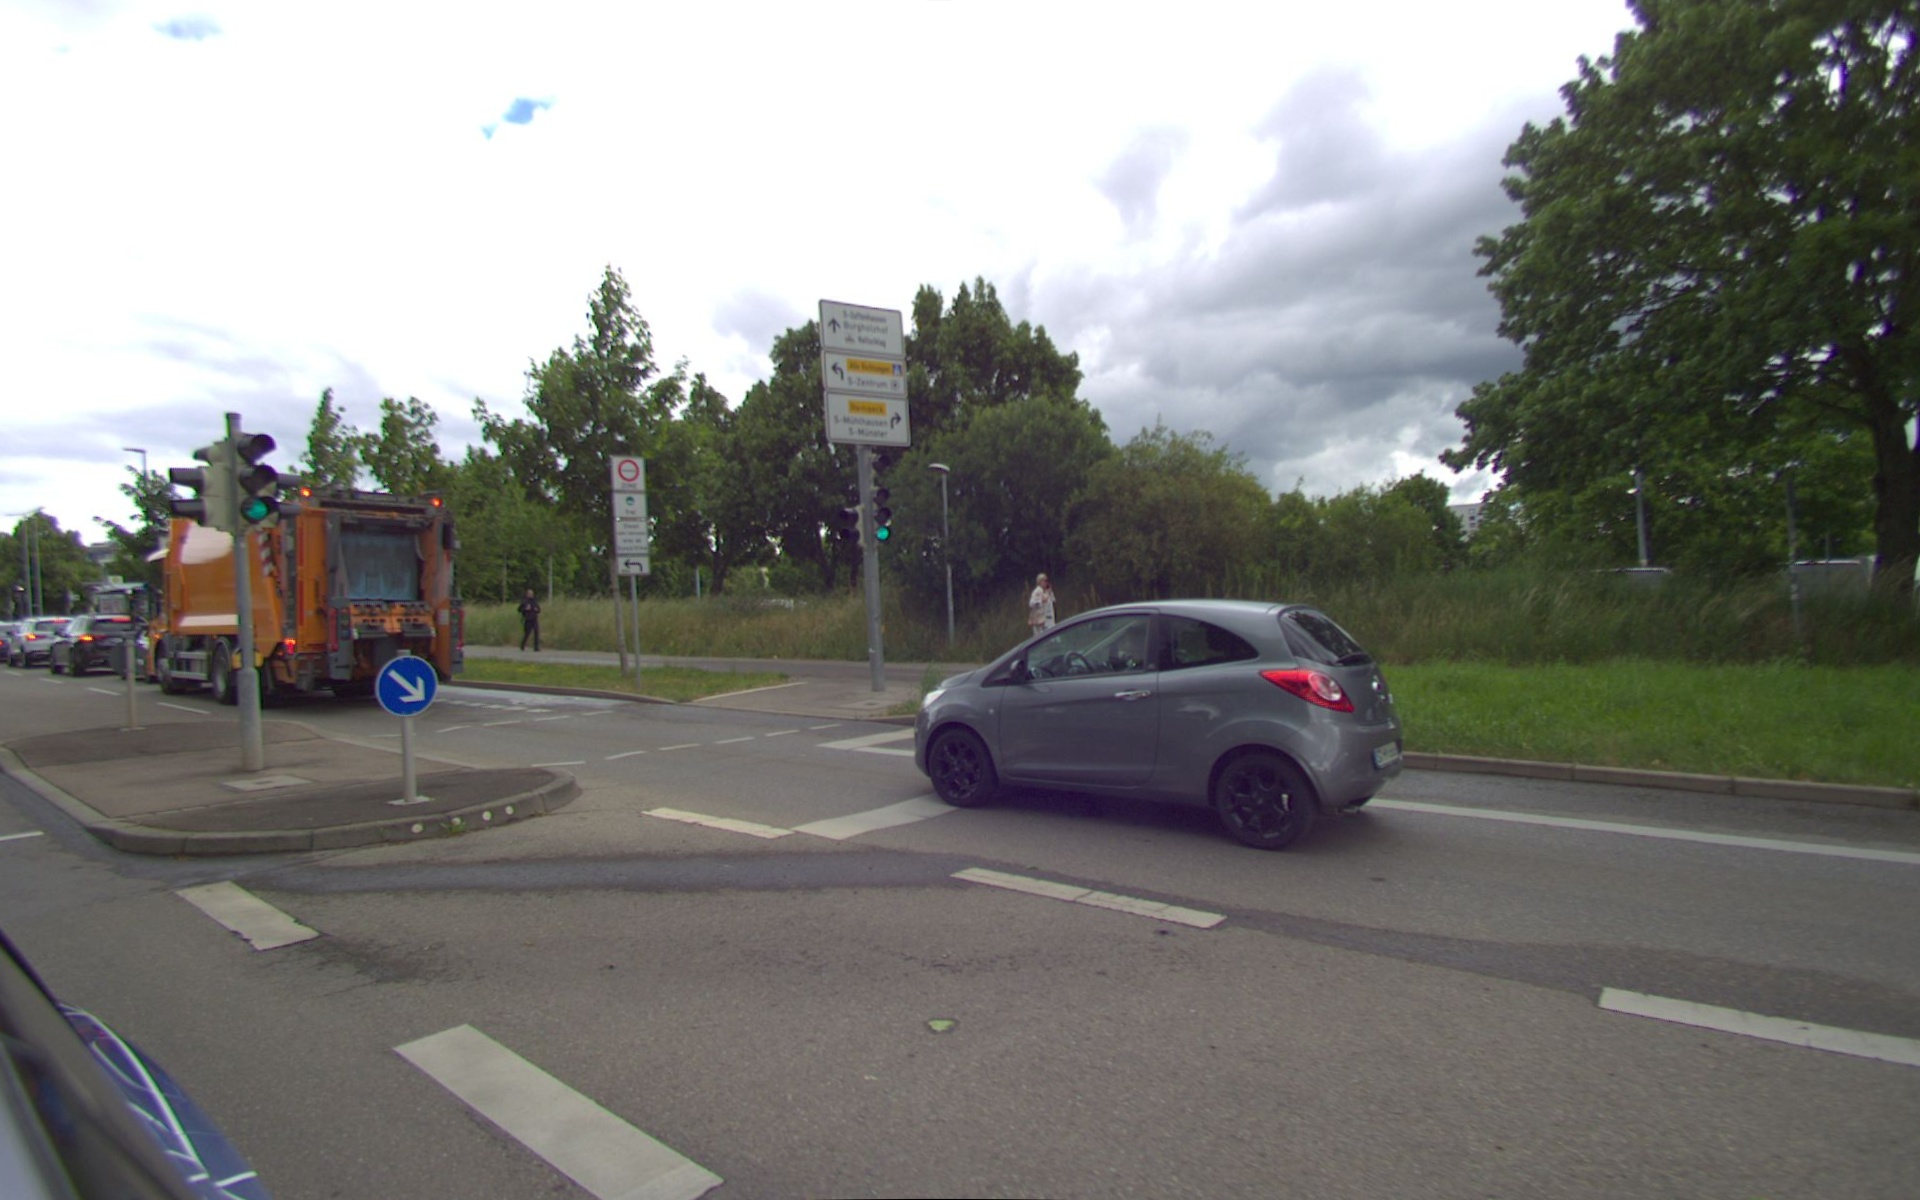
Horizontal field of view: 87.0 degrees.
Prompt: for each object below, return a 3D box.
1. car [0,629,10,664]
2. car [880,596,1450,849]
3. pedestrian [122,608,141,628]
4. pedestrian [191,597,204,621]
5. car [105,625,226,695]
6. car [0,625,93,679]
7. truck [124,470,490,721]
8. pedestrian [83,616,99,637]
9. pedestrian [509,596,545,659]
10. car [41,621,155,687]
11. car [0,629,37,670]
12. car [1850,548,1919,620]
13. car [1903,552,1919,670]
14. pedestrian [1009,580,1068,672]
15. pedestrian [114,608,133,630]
[{"bbox_3d":[-40.294,1.957,41.355,3.758,1.401,1.623,-2,0,39],"label":"car"},{"bbox_3d":[1.290,0.706,7.148,3.649,1.341,1.532,-2,-2,39],"label":"car"},{"bbox_3d":[-52.852,1.169,64.576,0.548,1.236,0.766,-3,0,30],"label":"pedestrian"},{"bbox_3d":[-52.997,0.633,70.303,0.541,1.682,0.430,-3,0,-15],"label":"pedestrian"},{"bbox_3d":[-18.874,1.391,23.989,3.890,1.468,1.420,-2,0,39],"label":"car"},{"bbox_3d":[-29.807,1.668,32.897,4.218,1.597,1.713,-2,0,39],"label":"car"},{"bbox_3d":[-12.275,0.050,18.411,9.985,3.513,2.679,-2,0,40],"label":"truck"},{"bbox_3d":[-57.469,1.762,66.909,0.771,1.374,0.545,-3,0,31],"label":"pedestrian"},{"bbox_3d":[-13.008,0.827,30.386,0.677,1.849,0.714,-2,0,40],"label":"pedestrian"},{"bbox_3d":[-23.550,1.444,27.592,4.056,1.597,1.623,-2,0,39],"label":"car"},{"bbox_3d":[-35.475,1.838,37.138,4.879,1.401,1.623,-2,0,39],"label":"car"},{"bbox_3d":[34.488,-0.583,37.048,2.399,2.474,4.921,-2,0,36],"label":"car"},{"bbox_3d":[20.514,0.236,19.487,2.652,2.494,5.990,-2,0,36],"label":"car"},{"bbox_3d":[1.454,0.471,18.707,0.753,1.665,0.736,-2,0,41],"label":"pedestrian"},{"bbox_3d":[-53.952,1.213,65.276,0.548,1.340,0.766,-3,0,30],"label":"pedestrian"}]
